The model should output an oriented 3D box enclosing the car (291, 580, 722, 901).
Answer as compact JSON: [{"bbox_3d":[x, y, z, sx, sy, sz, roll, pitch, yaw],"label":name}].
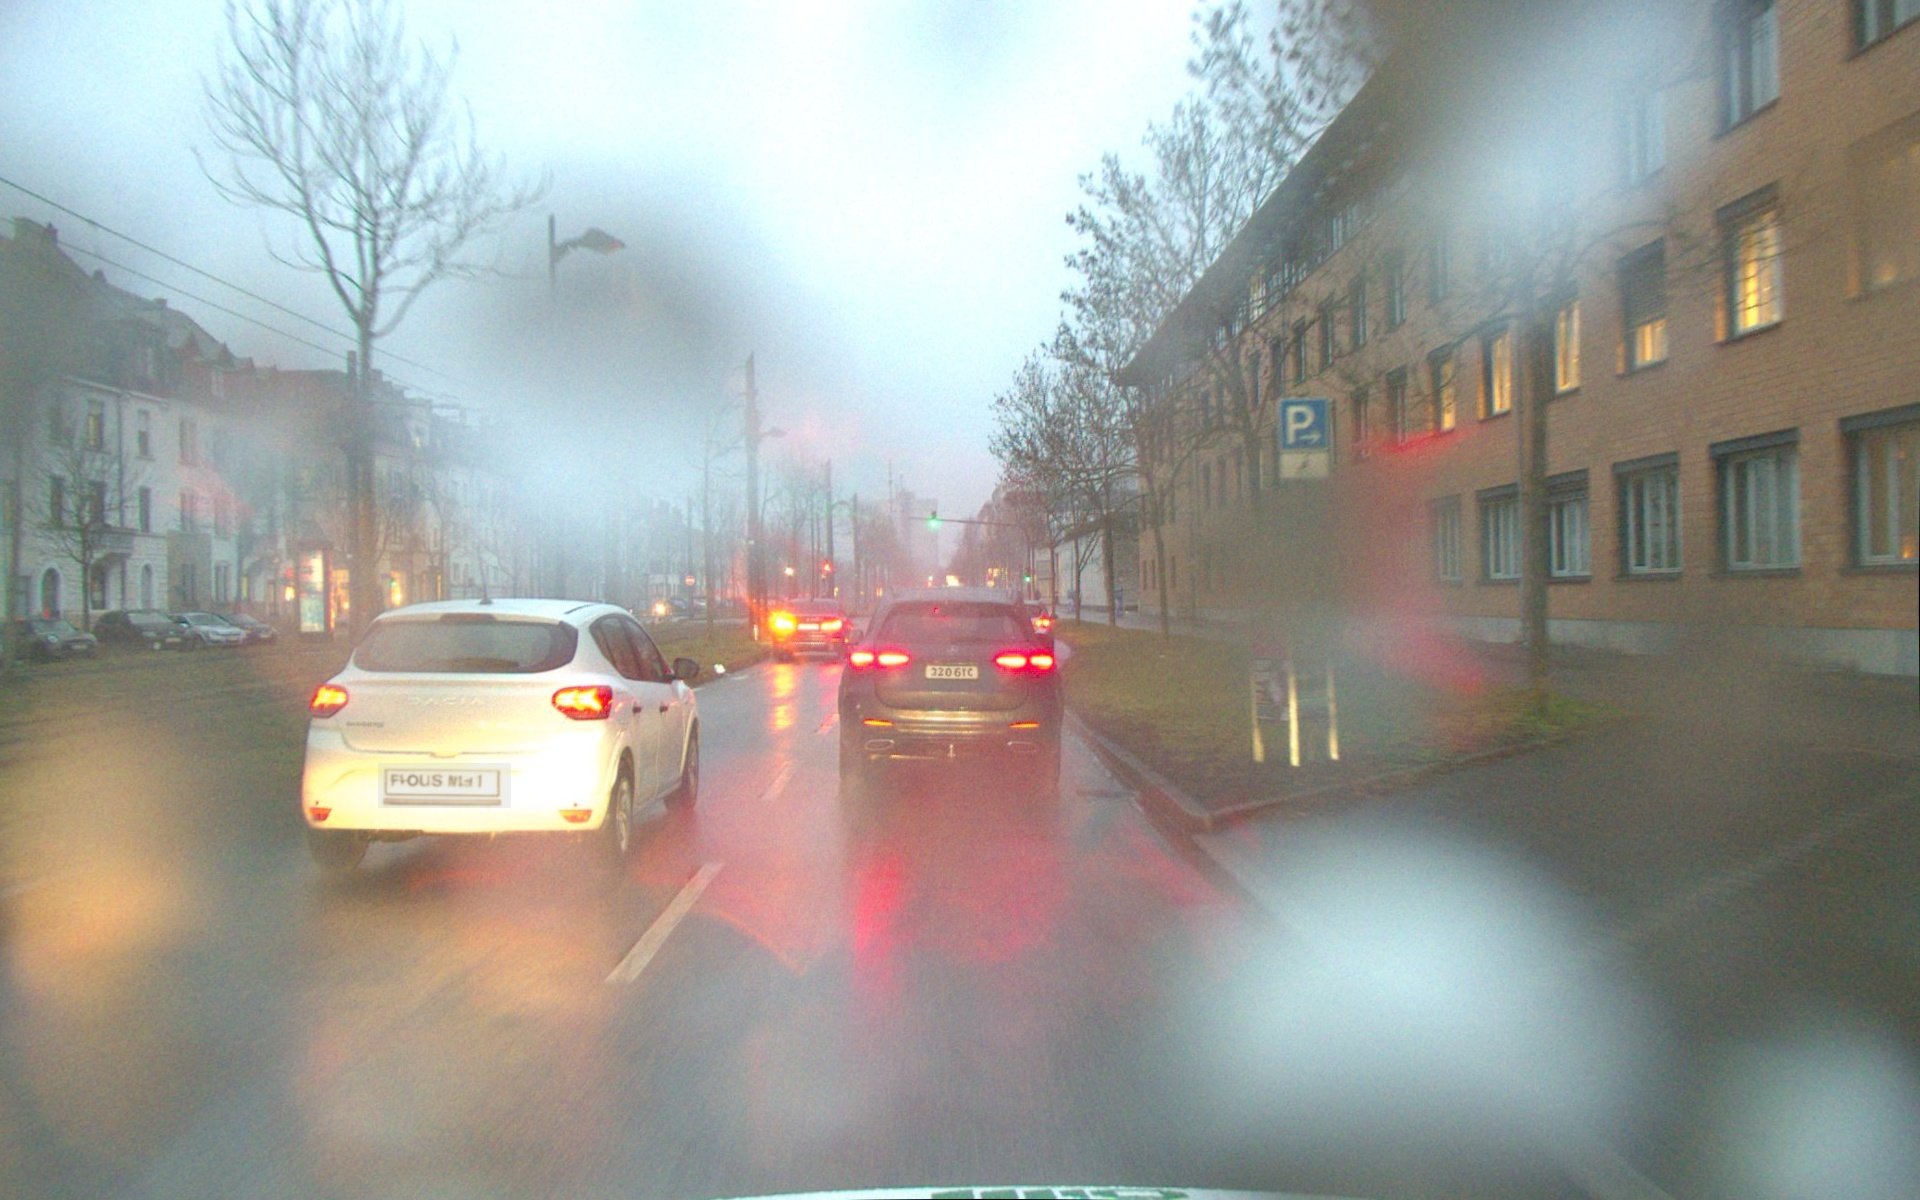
[{"bbox_3d":[-2.598,0.714,10.448,1.638,1.628,4.053,0,0,-1],"label":"car"}]

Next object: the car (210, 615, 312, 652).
[{"bbox_3d":[-27.525,1.333,65.061,3.921,1.355,1.992,-2,0,37],"label":"car"}]

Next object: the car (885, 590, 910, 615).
[{"bbox_3d":[-5.201,0.197,137.089,1.954,1.948,3.998,-2,0,-2],"label":"car"}]

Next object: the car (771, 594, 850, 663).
[{"bbox_3d":[-3.678,0.672,41.276,1.638,1.628,4.053,0,0,-1],"label":"car"}]

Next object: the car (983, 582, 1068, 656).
[{"bbox_3d":[1.630,0.464,42.277,1.953,1.774,3.999,-1,0,-1],"label":"car"}]

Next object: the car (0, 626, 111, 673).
[{"bbox_3d":[-28.570,1.546,51.822,3.921,1.355,1.992,-2,0,37],"label":"car"}]

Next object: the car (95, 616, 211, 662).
[{"bbox_3d":[-28.512,1.383,58.417,3.916,1.512,1.994,-2,0,34],"label":"car"}]

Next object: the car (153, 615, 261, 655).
[{"bbox_3d":[-28.020,1.306,61.526,3.921,1.355,1.992,-2,0,37],"label":"car"}]

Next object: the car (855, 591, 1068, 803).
[{"bbox_3d":[-0.011,0.751,14.758,1.638,1.628,4.053,0,0,-1],"label":"car"}]

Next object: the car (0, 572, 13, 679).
[{"bbox_3d":[-28.265,0.756,45.536,5.760,2.846,1.989,-2,0,41],"label":"car"}]
